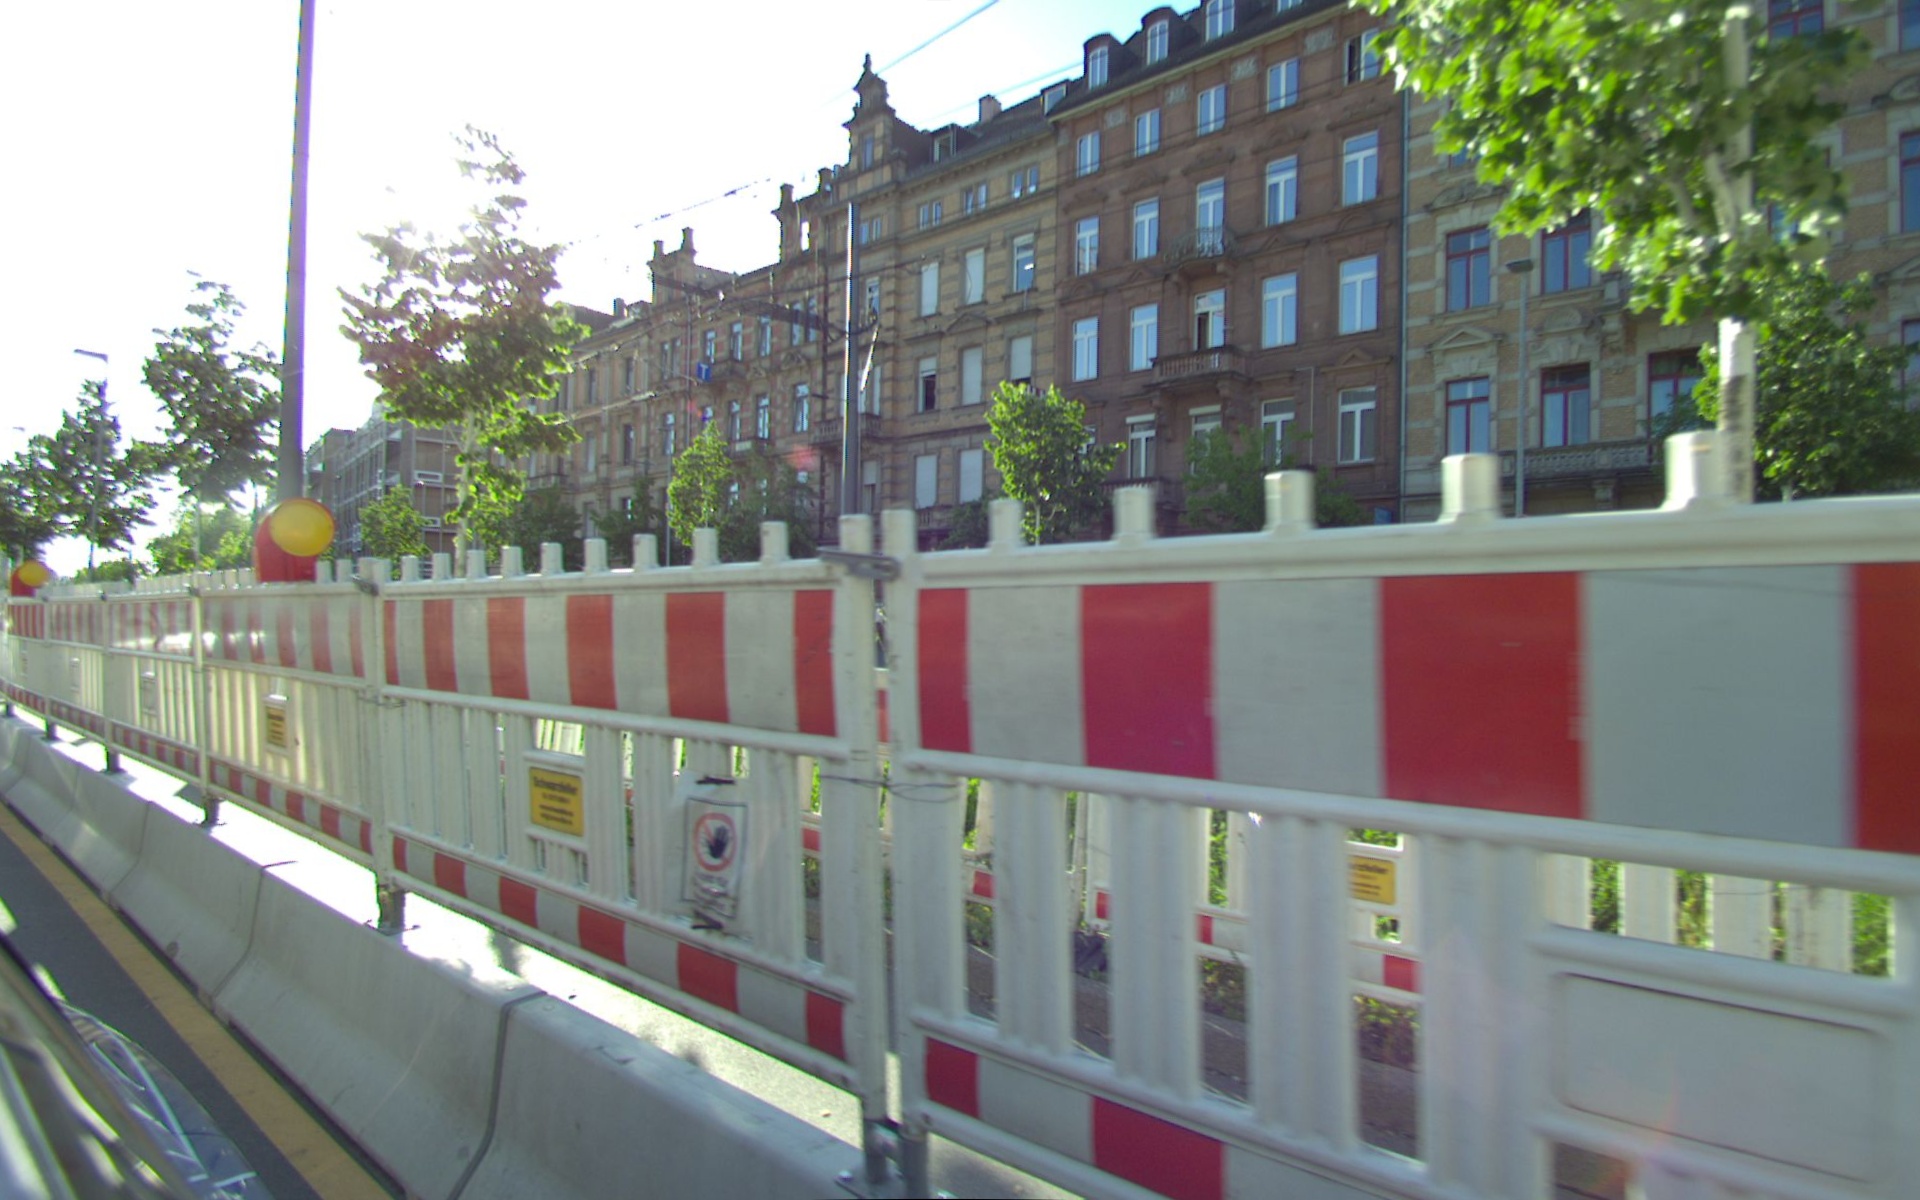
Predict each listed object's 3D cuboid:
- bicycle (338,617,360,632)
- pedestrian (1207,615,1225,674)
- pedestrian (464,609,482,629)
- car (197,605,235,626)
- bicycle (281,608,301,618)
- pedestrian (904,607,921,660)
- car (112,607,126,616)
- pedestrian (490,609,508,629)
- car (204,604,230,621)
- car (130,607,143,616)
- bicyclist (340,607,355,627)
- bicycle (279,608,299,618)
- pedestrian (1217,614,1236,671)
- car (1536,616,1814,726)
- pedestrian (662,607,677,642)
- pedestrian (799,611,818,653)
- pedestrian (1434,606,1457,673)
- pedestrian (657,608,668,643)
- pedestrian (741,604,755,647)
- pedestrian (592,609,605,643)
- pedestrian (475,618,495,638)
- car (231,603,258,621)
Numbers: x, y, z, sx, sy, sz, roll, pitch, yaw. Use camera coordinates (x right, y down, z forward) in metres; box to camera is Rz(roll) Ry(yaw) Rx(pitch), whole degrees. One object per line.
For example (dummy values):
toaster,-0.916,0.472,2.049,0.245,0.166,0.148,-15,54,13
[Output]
bicycle,-37.975,1.511,62.882,2.031,0.864,0.630,0,-1,43
pedestrian,7.114,1.222,28.105,0.338,1.596,0.424,0,1,40
pedestrian,-30.857,1.180,64.151,0.929,1.256,0.682,0,-1,42
car,-55.174,1.153,75.063,3.623,1.494,1.577,0,-2,43
bicycle,-77.557,1.506,117.261,1.903,1.080,0.426,3,-2,-36
pedestrian,-1.625,1.130,34.490,0.403,1.778,0.506,0,0,22
car,-160.248,2.146,192.820,1.707,1.760,4.125,2,-1,-43
pedestrian,-28.382,1.175,62.244,0.929,1.217,0.682,0,-1,42
car,-72.239,1.228,98.333,1.716,1.548,3.890,1,-1,-41
car,-147.099,2.063,180.800,1.608,1.507,3.784,3,-2,-43
bicyclist,-38.180,1.057,63.082,0.738,1.249,0.630,0,-2,42
bicycle,-78.361,1.514,118.181,1.850,1.080,0.426,3,-2,-36
pedestrian,7.537,1.191,28.626,0.385,1.596,0.429,0,1,38
car,12.306,1.148,17.549,3.807,1.688,1.550,-1,-2,41
pedestrian,-13.632,1.150,47.434,0.478,1.596,0.481,0,0,18
pedestrian,-5.775,1.209,38.560,0.533,1.596,0.482,0,1,41
pedestrian,11.808,0.959,24.619,0.434,1.596,0.457,0,0,34
pedestrian,-13.802,1.192,46.982,0.401,1.596,0.368,0,0,2
pedestrian,-8.876,1.059,42.393,0.406,1.778,0.363,0,1,41
pedestrian,-17.363,1.252,48.619,0.425,1.596,0.399,0,1,41
pedestrian,-29.406,1.711,62.632,0.929,1.217,0.782,0,-1,42
car,-64.792,1.114,91.616,1.629,1.566,3.972,1,-1,-41
